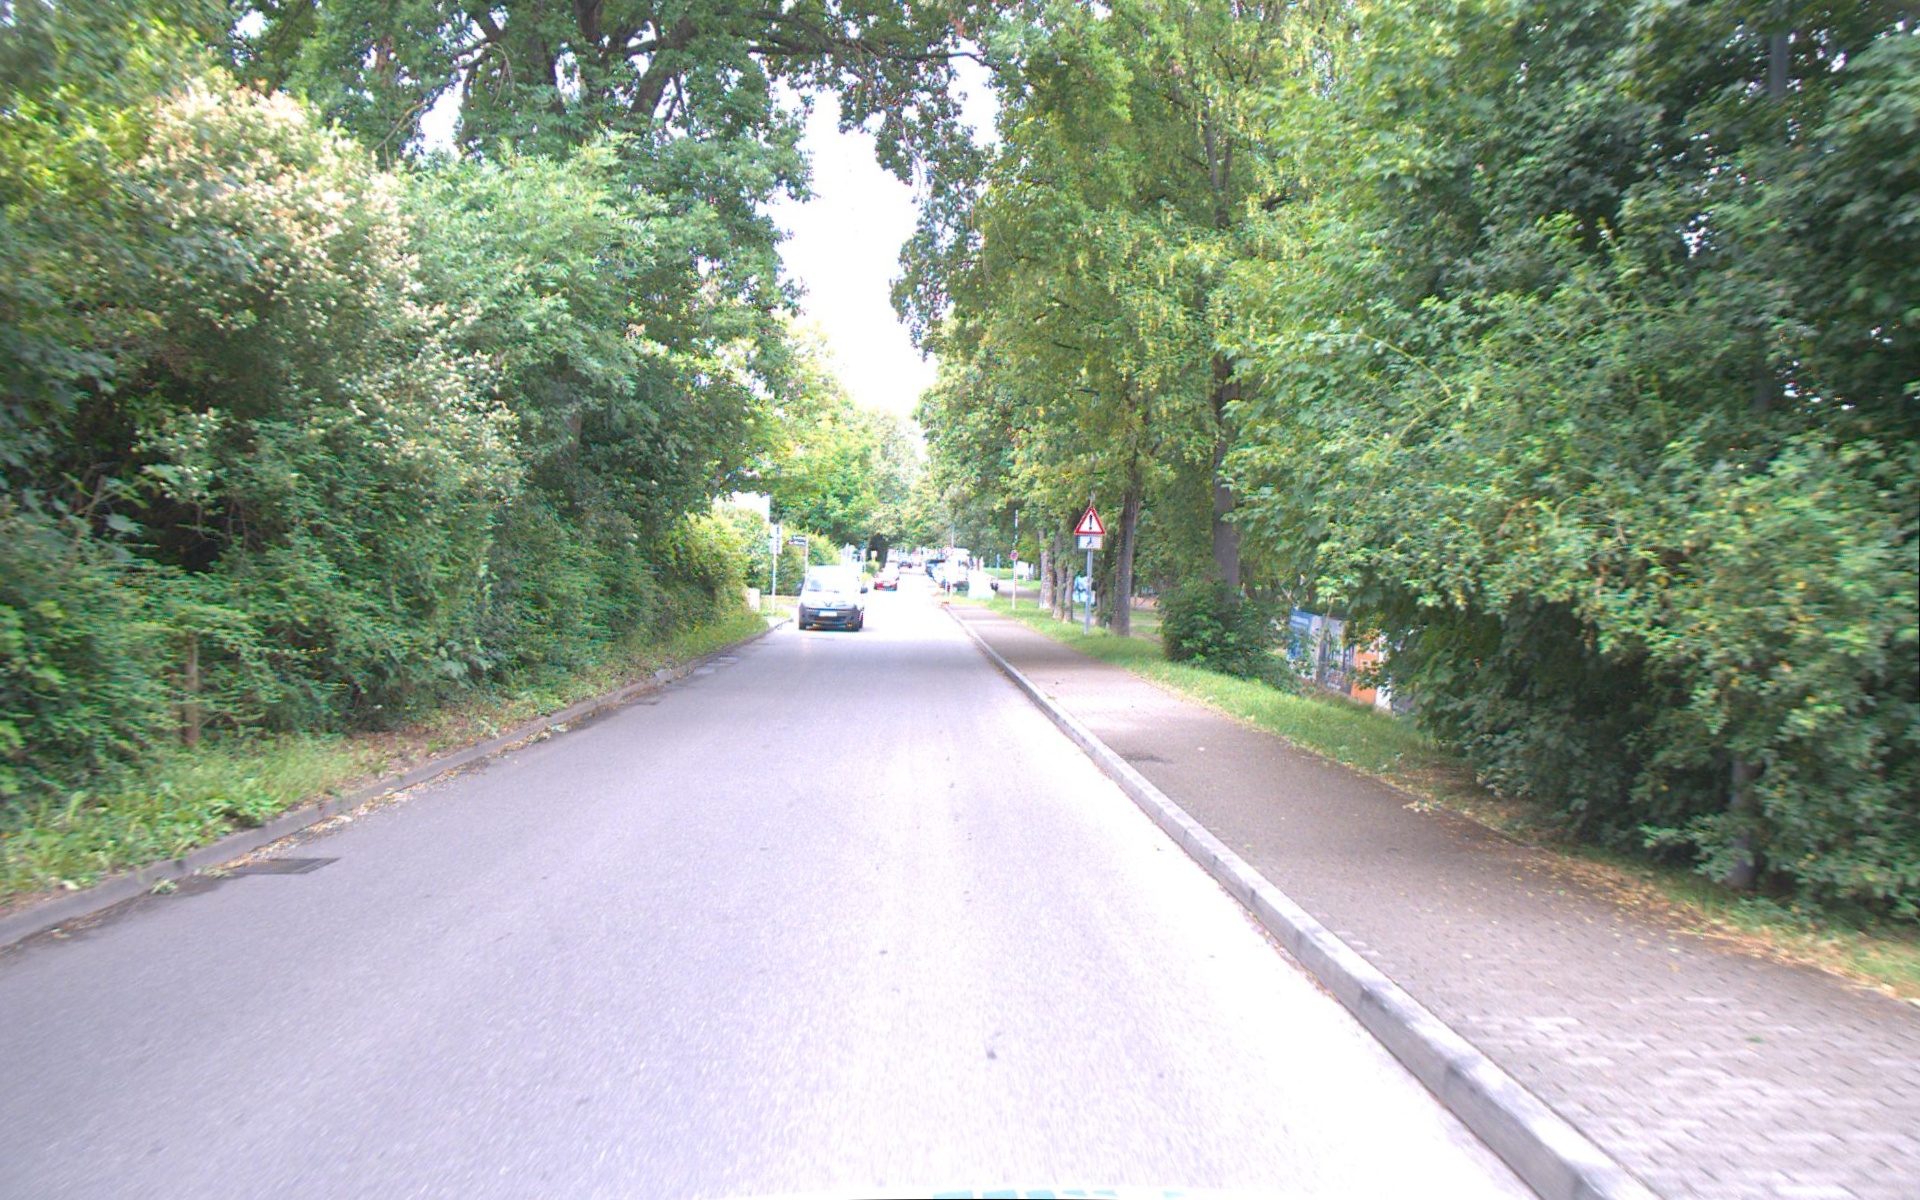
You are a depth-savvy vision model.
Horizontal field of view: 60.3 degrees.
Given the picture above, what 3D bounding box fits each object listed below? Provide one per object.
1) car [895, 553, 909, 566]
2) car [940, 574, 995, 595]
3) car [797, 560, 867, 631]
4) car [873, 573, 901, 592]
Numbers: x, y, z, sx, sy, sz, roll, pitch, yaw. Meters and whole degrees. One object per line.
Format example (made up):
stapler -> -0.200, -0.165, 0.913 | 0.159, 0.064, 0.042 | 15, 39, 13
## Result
car -> -8.980, -6.260, 255.396 | 1.929, 1.778, 4.336 | 2, 1, -3
car -> 0.537, -1.143, 123.244 | 3.982, 1.459, 1.999 | 1, 0, -3
car -> -3.675, -0.123, 48.122 | 1.835, 1.947, 4.429 | 1, 0, -3
car -> -5.537, -1.335, 125.034 | 1.717, 1.359, 4.059 | 2, 1, -8
